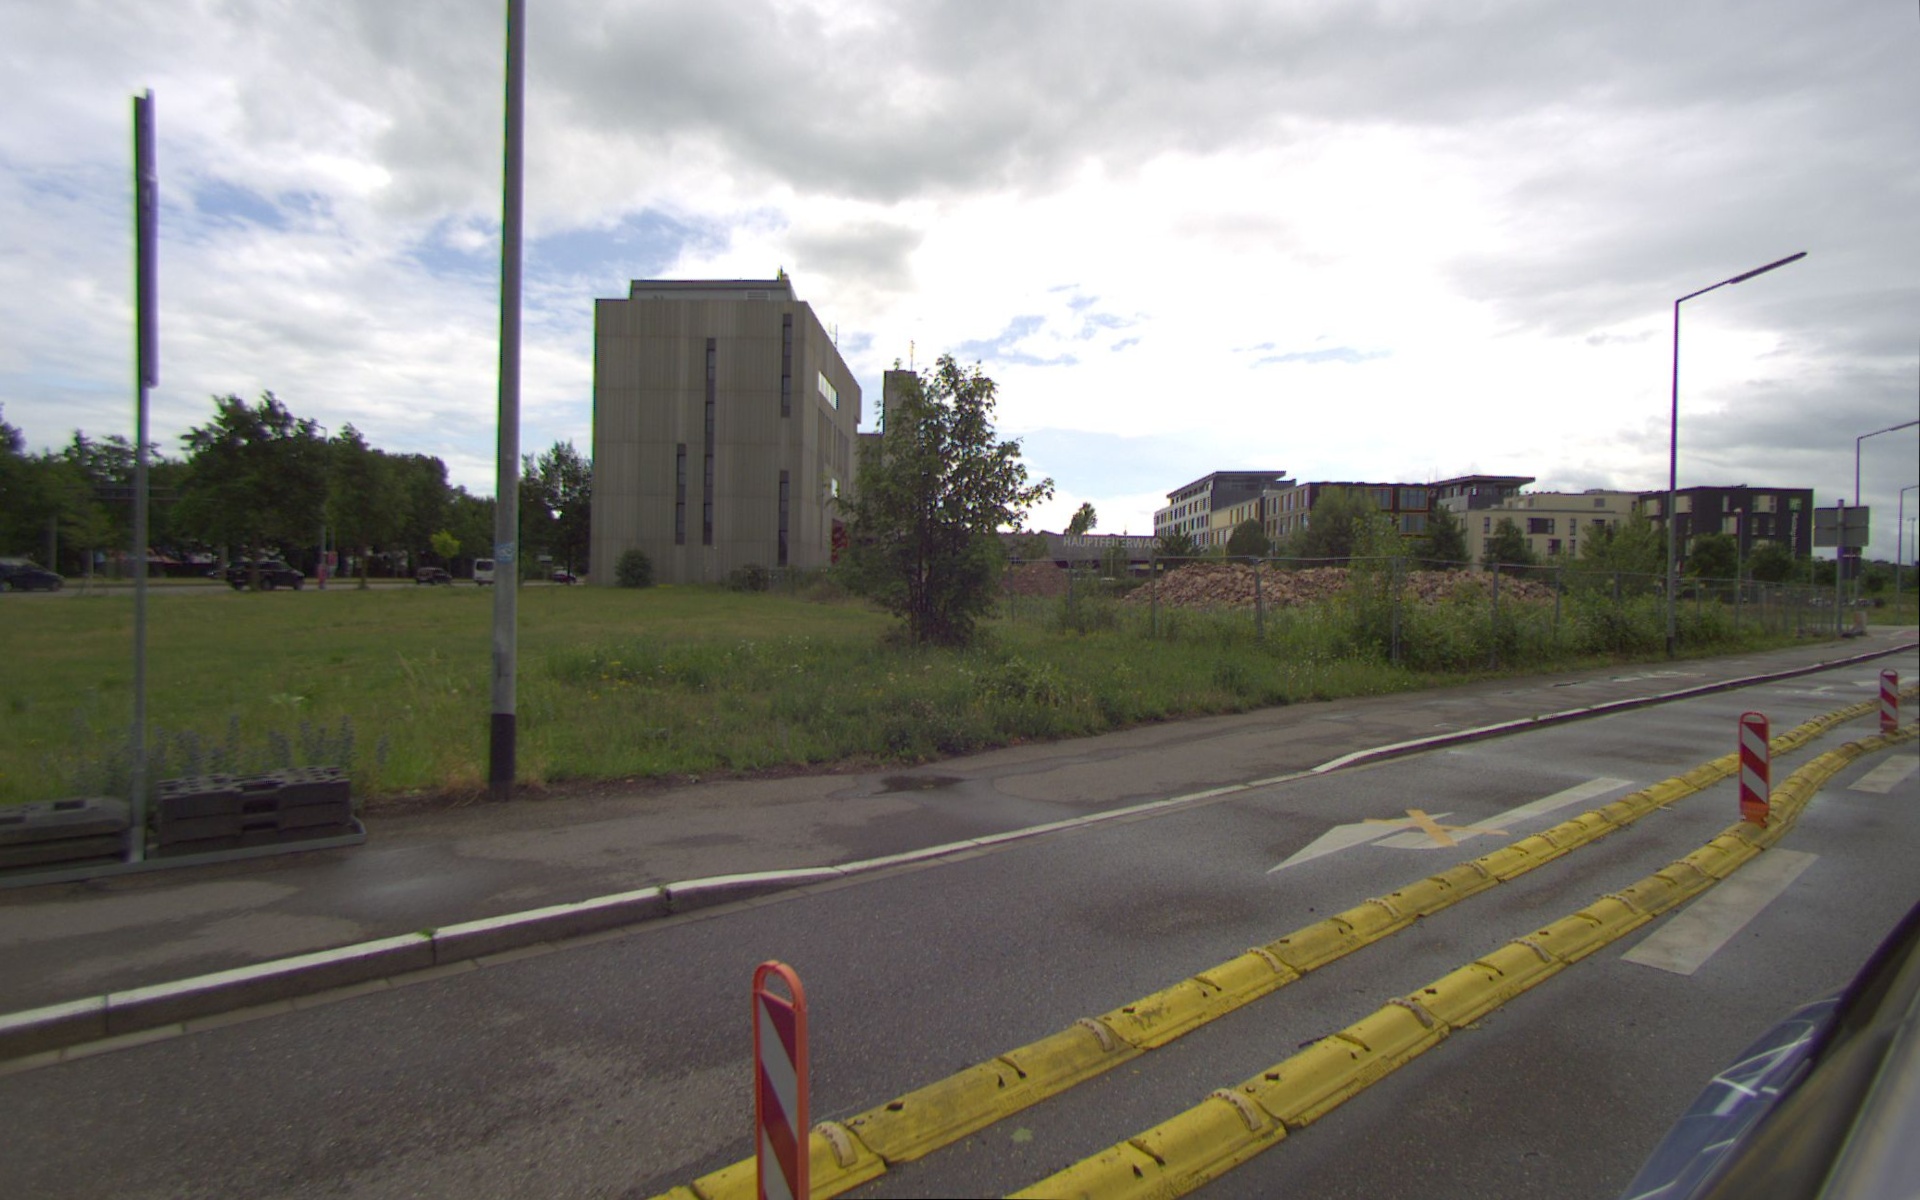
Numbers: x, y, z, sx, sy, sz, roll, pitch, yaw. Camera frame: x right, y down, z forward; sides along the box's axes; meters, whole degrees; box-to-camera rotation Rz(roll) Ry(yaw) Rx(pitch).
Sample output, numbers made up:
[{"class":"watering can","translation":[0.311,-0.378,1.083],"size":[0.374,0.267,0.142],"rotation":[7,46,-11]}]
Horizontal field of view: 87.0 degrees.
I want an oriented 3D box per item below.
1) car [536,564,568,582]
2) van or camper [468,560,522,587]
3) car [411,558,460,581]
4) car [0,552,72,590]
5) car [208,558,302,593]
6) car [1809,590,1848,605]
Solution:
[{"class":"car","translation":[-46.675,-3.100,115.907],"size":[1.963,2.039,3.998],"rotation":[1,1,2]},{"class":"van or camper","translation":[-39.972,-2.264,87.196],"size":[1.963,2.142,5.551],"rotation":[1,1,1]},{"class":"car","translation":[-44.348,-2.532,85.679],"size":[1.964,1.872,3.997],"rotation":[1,1,3]},{"class":"car","translation":[-46.758,-1.426,49.913],"size":[2.041,1.836,4.204],"rotation":[1,1,4]},{"class":"car","translation":[-43.009,-1.489,61.908],"size":[2.182,1.996,5.042],"rotation":[1,1,0]},{"class":"car","translation":[127.233,-0.383,148.287],"size":[3.925,2.039,2.000],"rotation":[1,1,1]}]
